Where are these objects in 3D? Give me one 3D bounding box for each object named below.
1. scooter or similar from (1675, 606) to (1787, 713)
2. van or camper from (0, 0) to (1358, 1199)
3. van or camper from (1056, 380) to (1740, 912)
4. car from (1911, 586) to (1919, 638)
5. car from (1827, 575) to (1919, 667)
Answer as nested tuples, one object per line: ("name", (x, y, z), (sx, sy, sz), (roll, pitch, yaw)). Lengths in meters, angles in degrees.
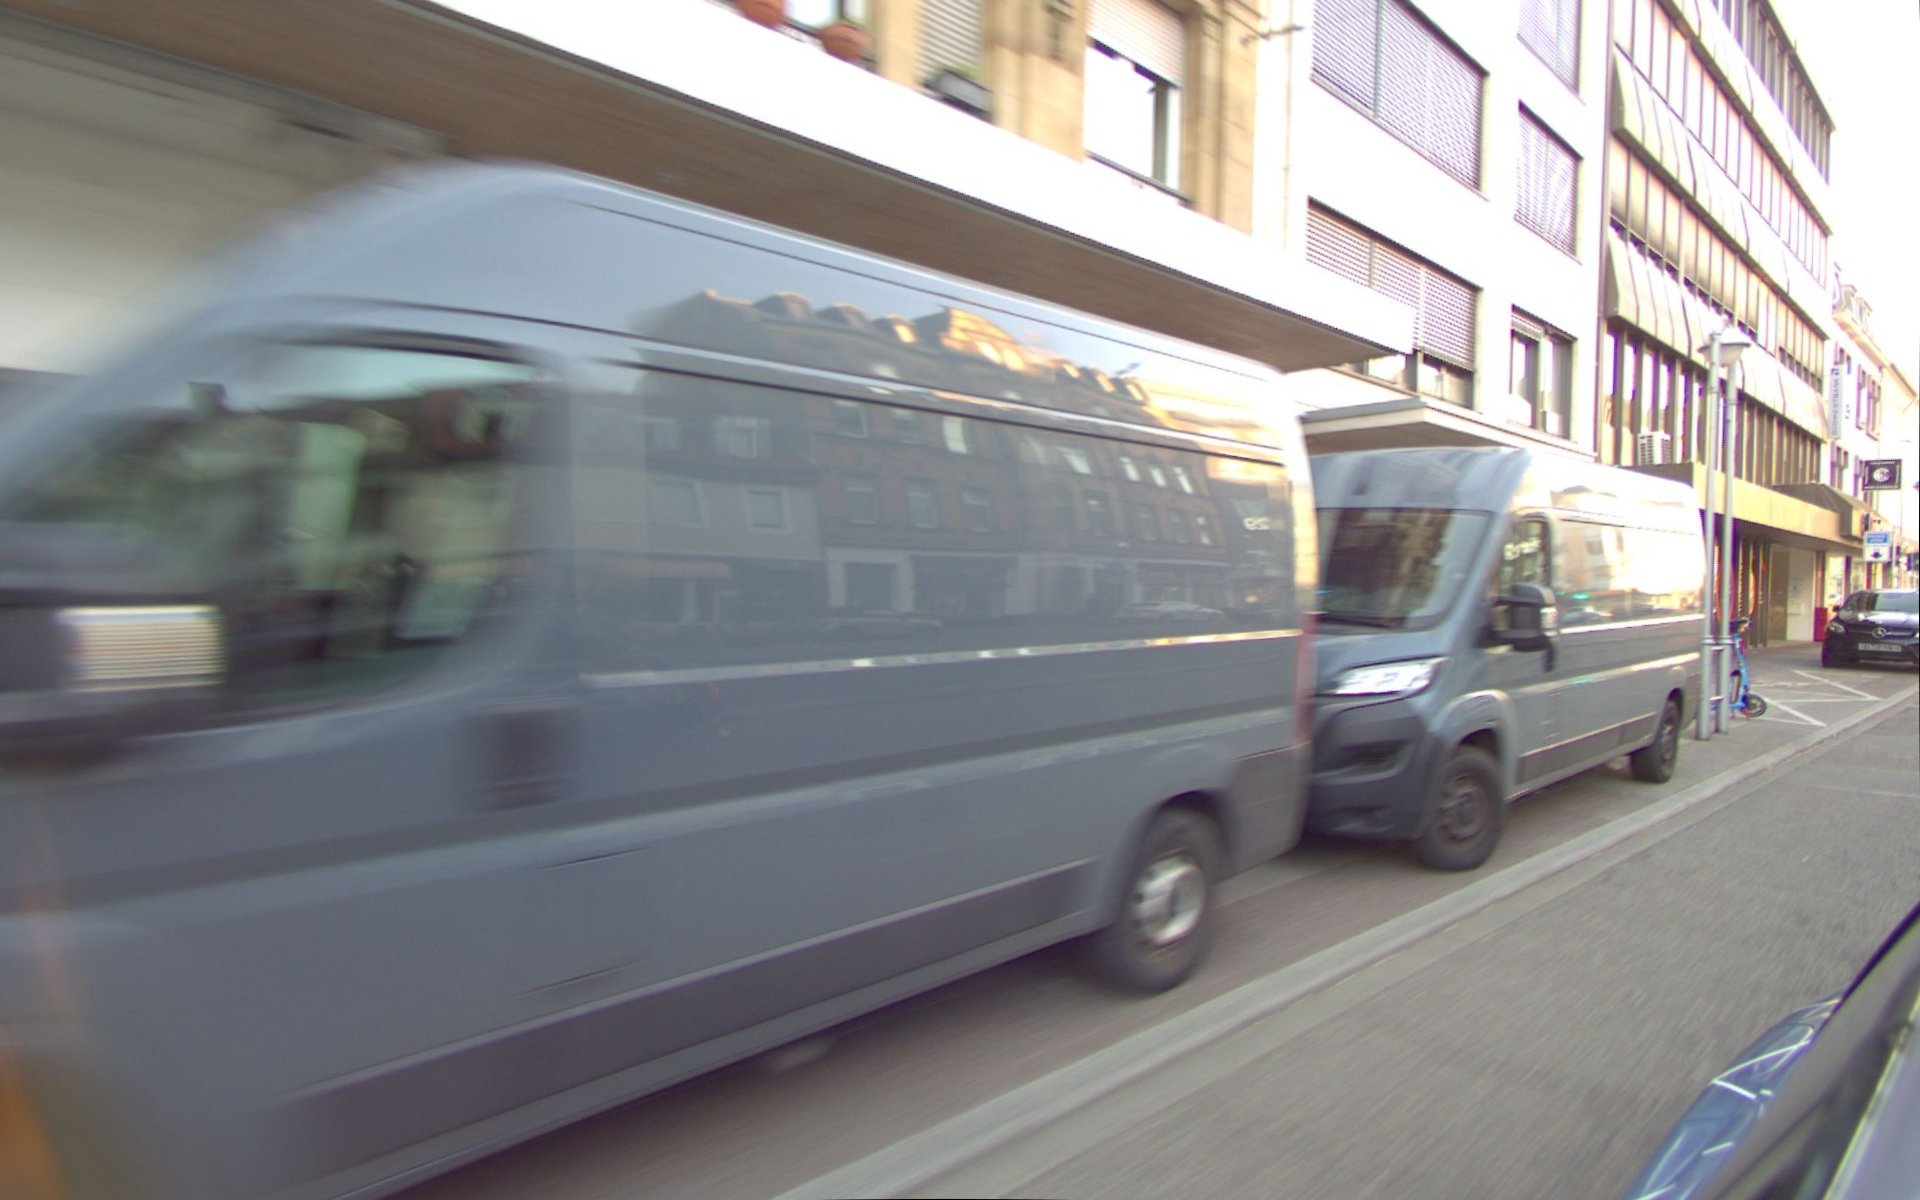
("scooter or similar", (9.419, 0.727, 12.370), (1.092, 1.238, 0.356), (2, 3, -8))
("van or camper", (-1.052, 0.097, 3.306), (5.426, 2.455, 2.192), (-1, 4, -44))
("van or camper", (3.619, 0.132, 7.484), (6.026, 2.455, 2.193), (0, 4, -41))
("car", (29.714, 0.381, 30.013), (3.805, 1.503, 1.770), (0, 4, -41))
("car", (20.706, 0.415, 22.055), (4.588, 1.755, 1.989), (0, 4, -40))
